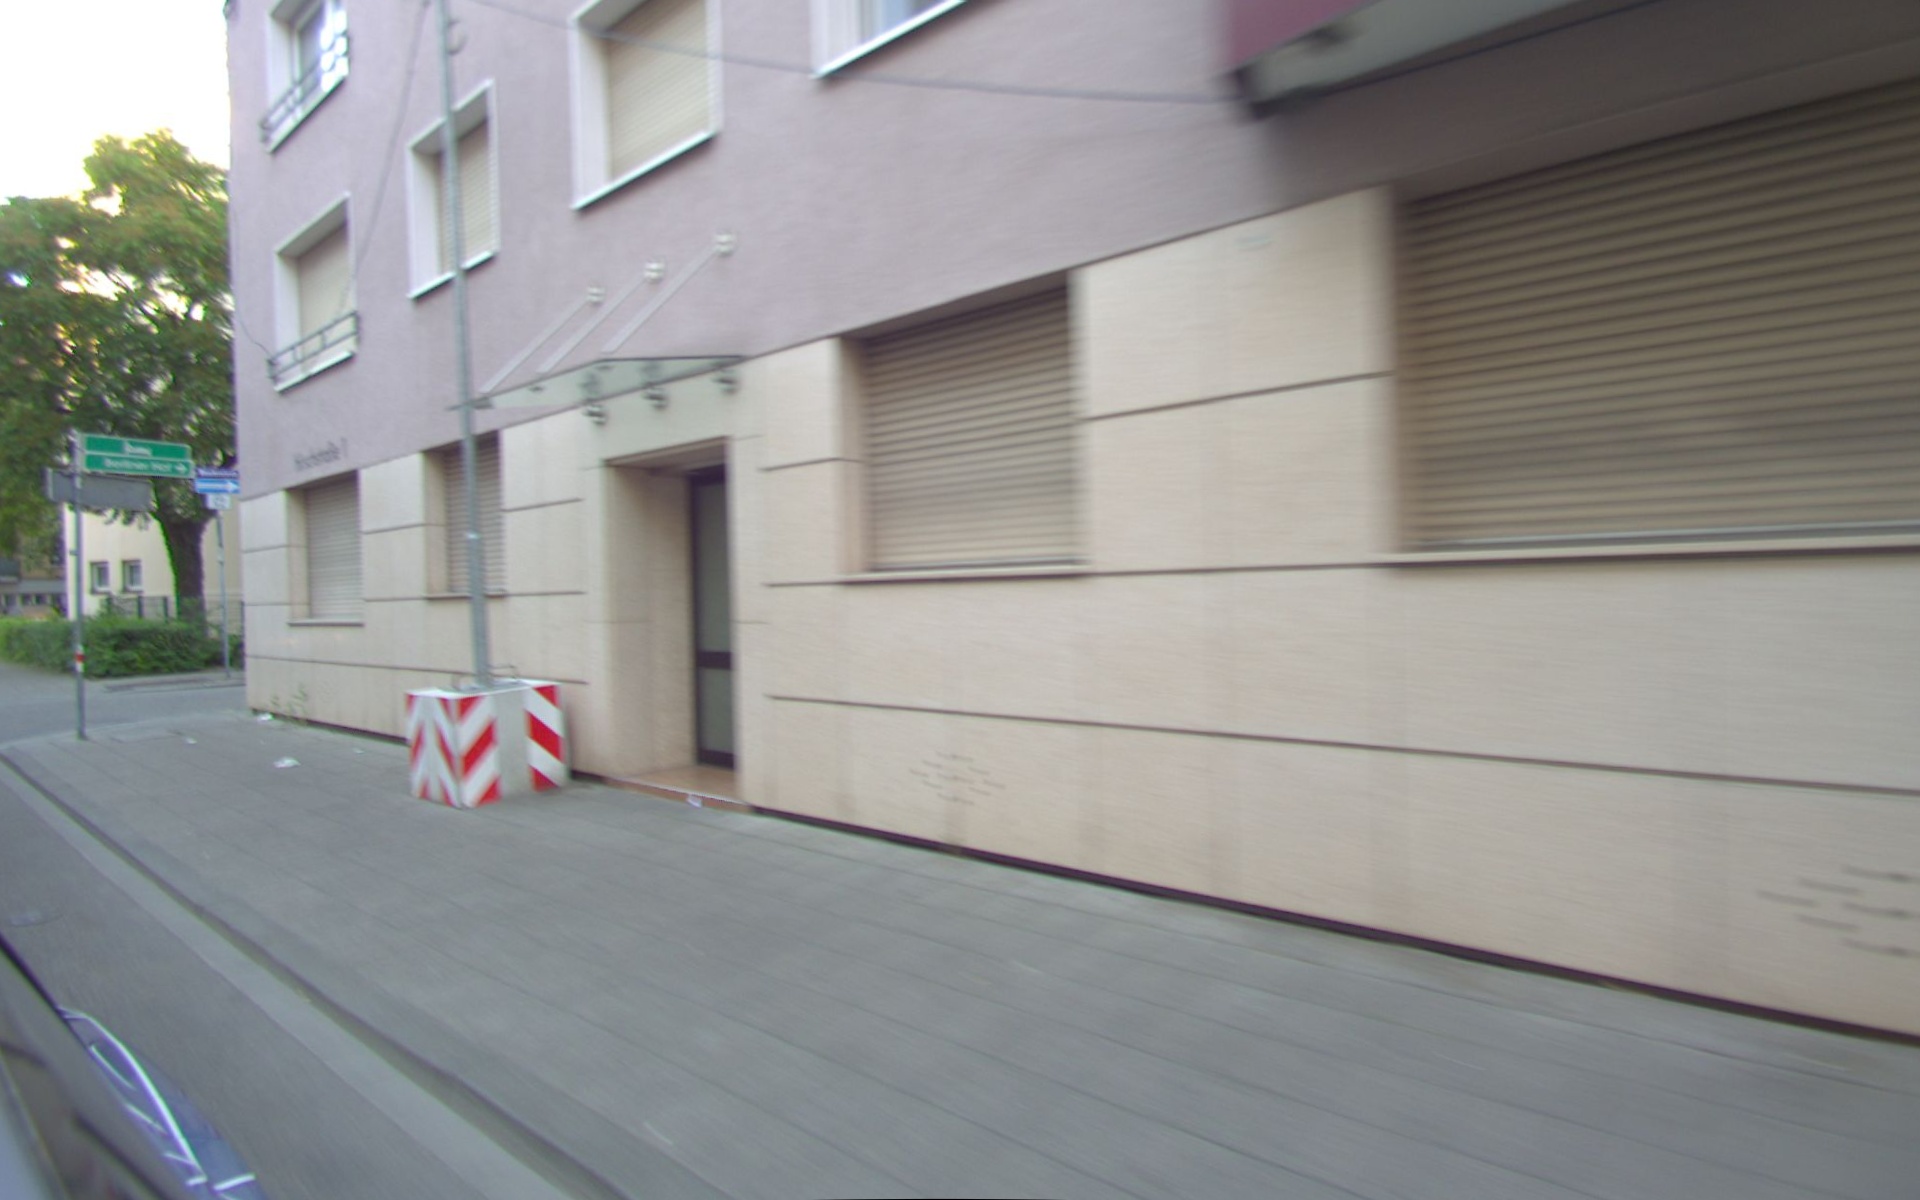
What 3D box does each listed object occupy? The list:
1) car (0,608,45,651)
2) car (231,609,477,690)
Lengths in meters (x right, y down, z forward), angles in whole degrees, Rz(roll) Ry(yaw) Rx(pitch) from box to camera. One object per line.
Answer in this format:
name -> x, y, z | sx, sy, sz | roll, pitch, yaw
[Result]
car -> -49.617, 1.474, 51.918 | 4.295, 2.092, 2.215 | 1, 0, 19
car -> -13.220, 0.998, 22.313 | 1.725, 1.493, 4.328 | -1, 1, 39
